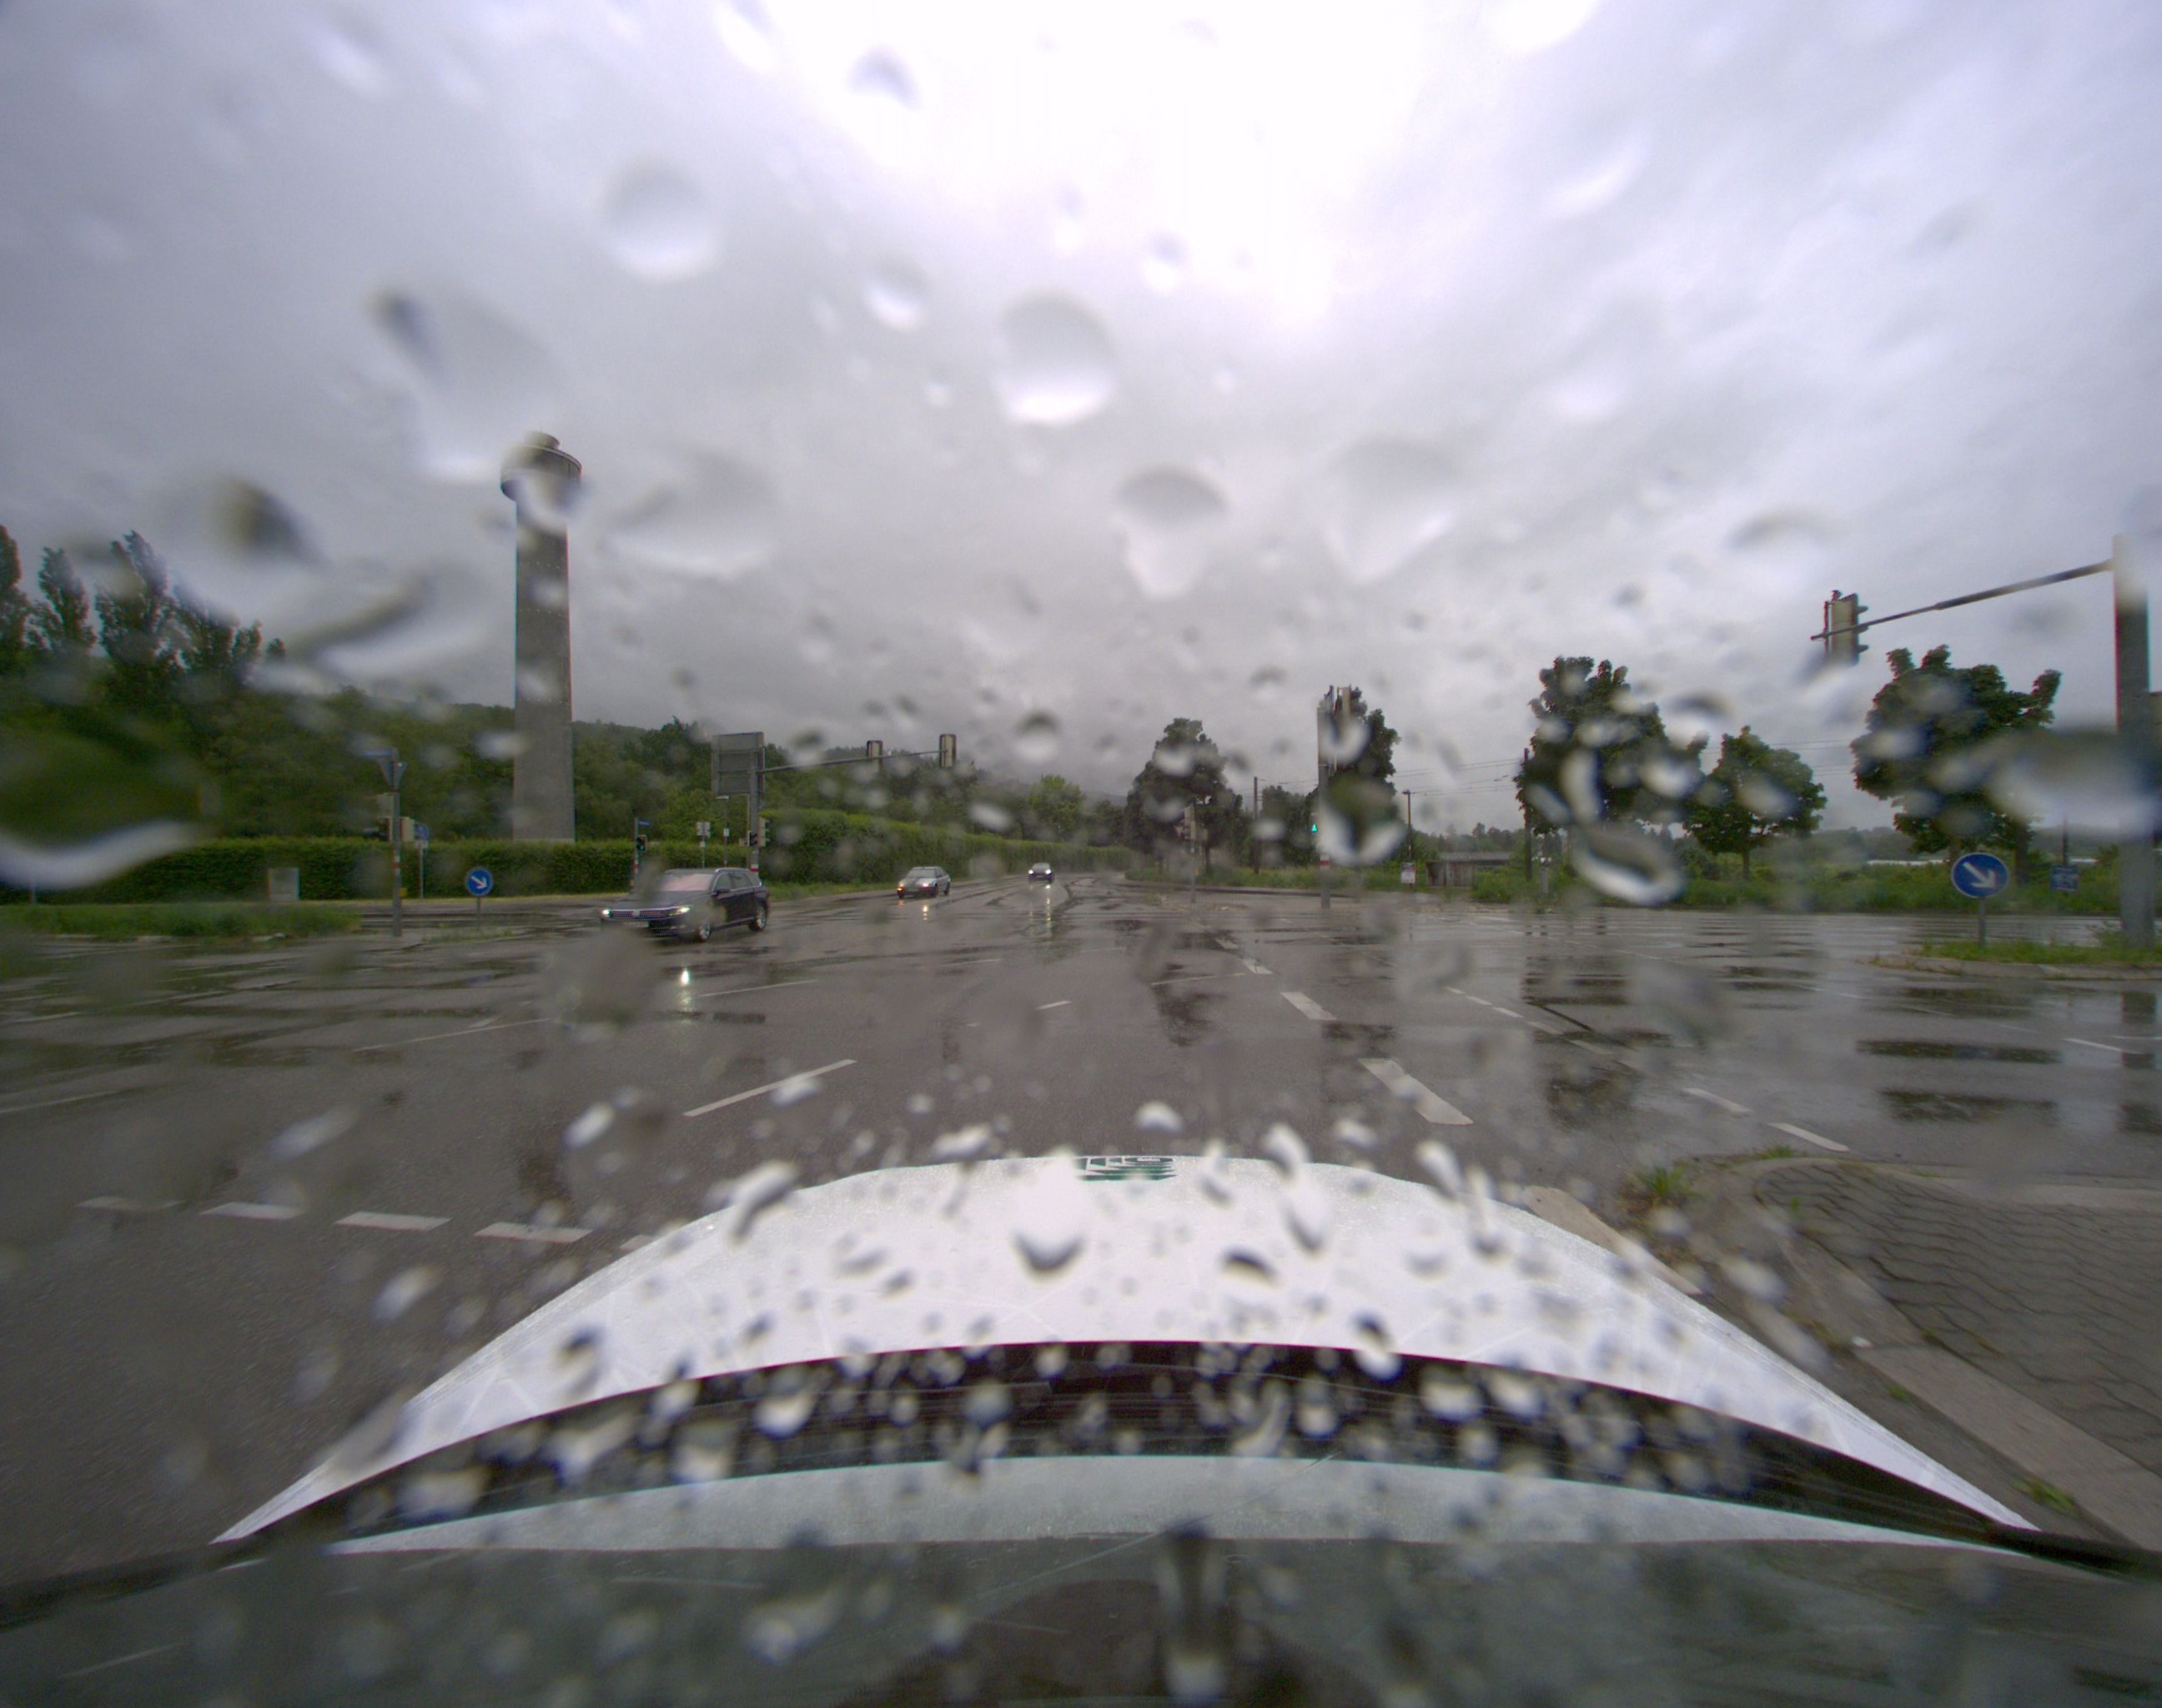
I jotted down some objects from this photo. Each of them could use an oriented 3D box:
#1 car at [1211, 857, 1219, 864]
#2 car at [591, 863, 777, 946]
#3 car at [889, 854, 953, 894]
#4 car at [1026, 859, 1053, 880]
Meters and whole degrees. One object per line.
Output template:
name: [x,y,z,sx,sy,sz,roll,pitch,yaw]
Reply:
car: [37.499,1.693,227.906,1.939,1.904,4.137,-1,0,15]
car: [-8.102,0.943,17.142,1.703,1.466,4.452,-1,0,0]
car: [-7.319,0.893,37.597,2.029,1.708,4.068,0,0,2]
car: [-3.198,1.177,63.183,1.779,1.505,4.060,-1,0,0]
